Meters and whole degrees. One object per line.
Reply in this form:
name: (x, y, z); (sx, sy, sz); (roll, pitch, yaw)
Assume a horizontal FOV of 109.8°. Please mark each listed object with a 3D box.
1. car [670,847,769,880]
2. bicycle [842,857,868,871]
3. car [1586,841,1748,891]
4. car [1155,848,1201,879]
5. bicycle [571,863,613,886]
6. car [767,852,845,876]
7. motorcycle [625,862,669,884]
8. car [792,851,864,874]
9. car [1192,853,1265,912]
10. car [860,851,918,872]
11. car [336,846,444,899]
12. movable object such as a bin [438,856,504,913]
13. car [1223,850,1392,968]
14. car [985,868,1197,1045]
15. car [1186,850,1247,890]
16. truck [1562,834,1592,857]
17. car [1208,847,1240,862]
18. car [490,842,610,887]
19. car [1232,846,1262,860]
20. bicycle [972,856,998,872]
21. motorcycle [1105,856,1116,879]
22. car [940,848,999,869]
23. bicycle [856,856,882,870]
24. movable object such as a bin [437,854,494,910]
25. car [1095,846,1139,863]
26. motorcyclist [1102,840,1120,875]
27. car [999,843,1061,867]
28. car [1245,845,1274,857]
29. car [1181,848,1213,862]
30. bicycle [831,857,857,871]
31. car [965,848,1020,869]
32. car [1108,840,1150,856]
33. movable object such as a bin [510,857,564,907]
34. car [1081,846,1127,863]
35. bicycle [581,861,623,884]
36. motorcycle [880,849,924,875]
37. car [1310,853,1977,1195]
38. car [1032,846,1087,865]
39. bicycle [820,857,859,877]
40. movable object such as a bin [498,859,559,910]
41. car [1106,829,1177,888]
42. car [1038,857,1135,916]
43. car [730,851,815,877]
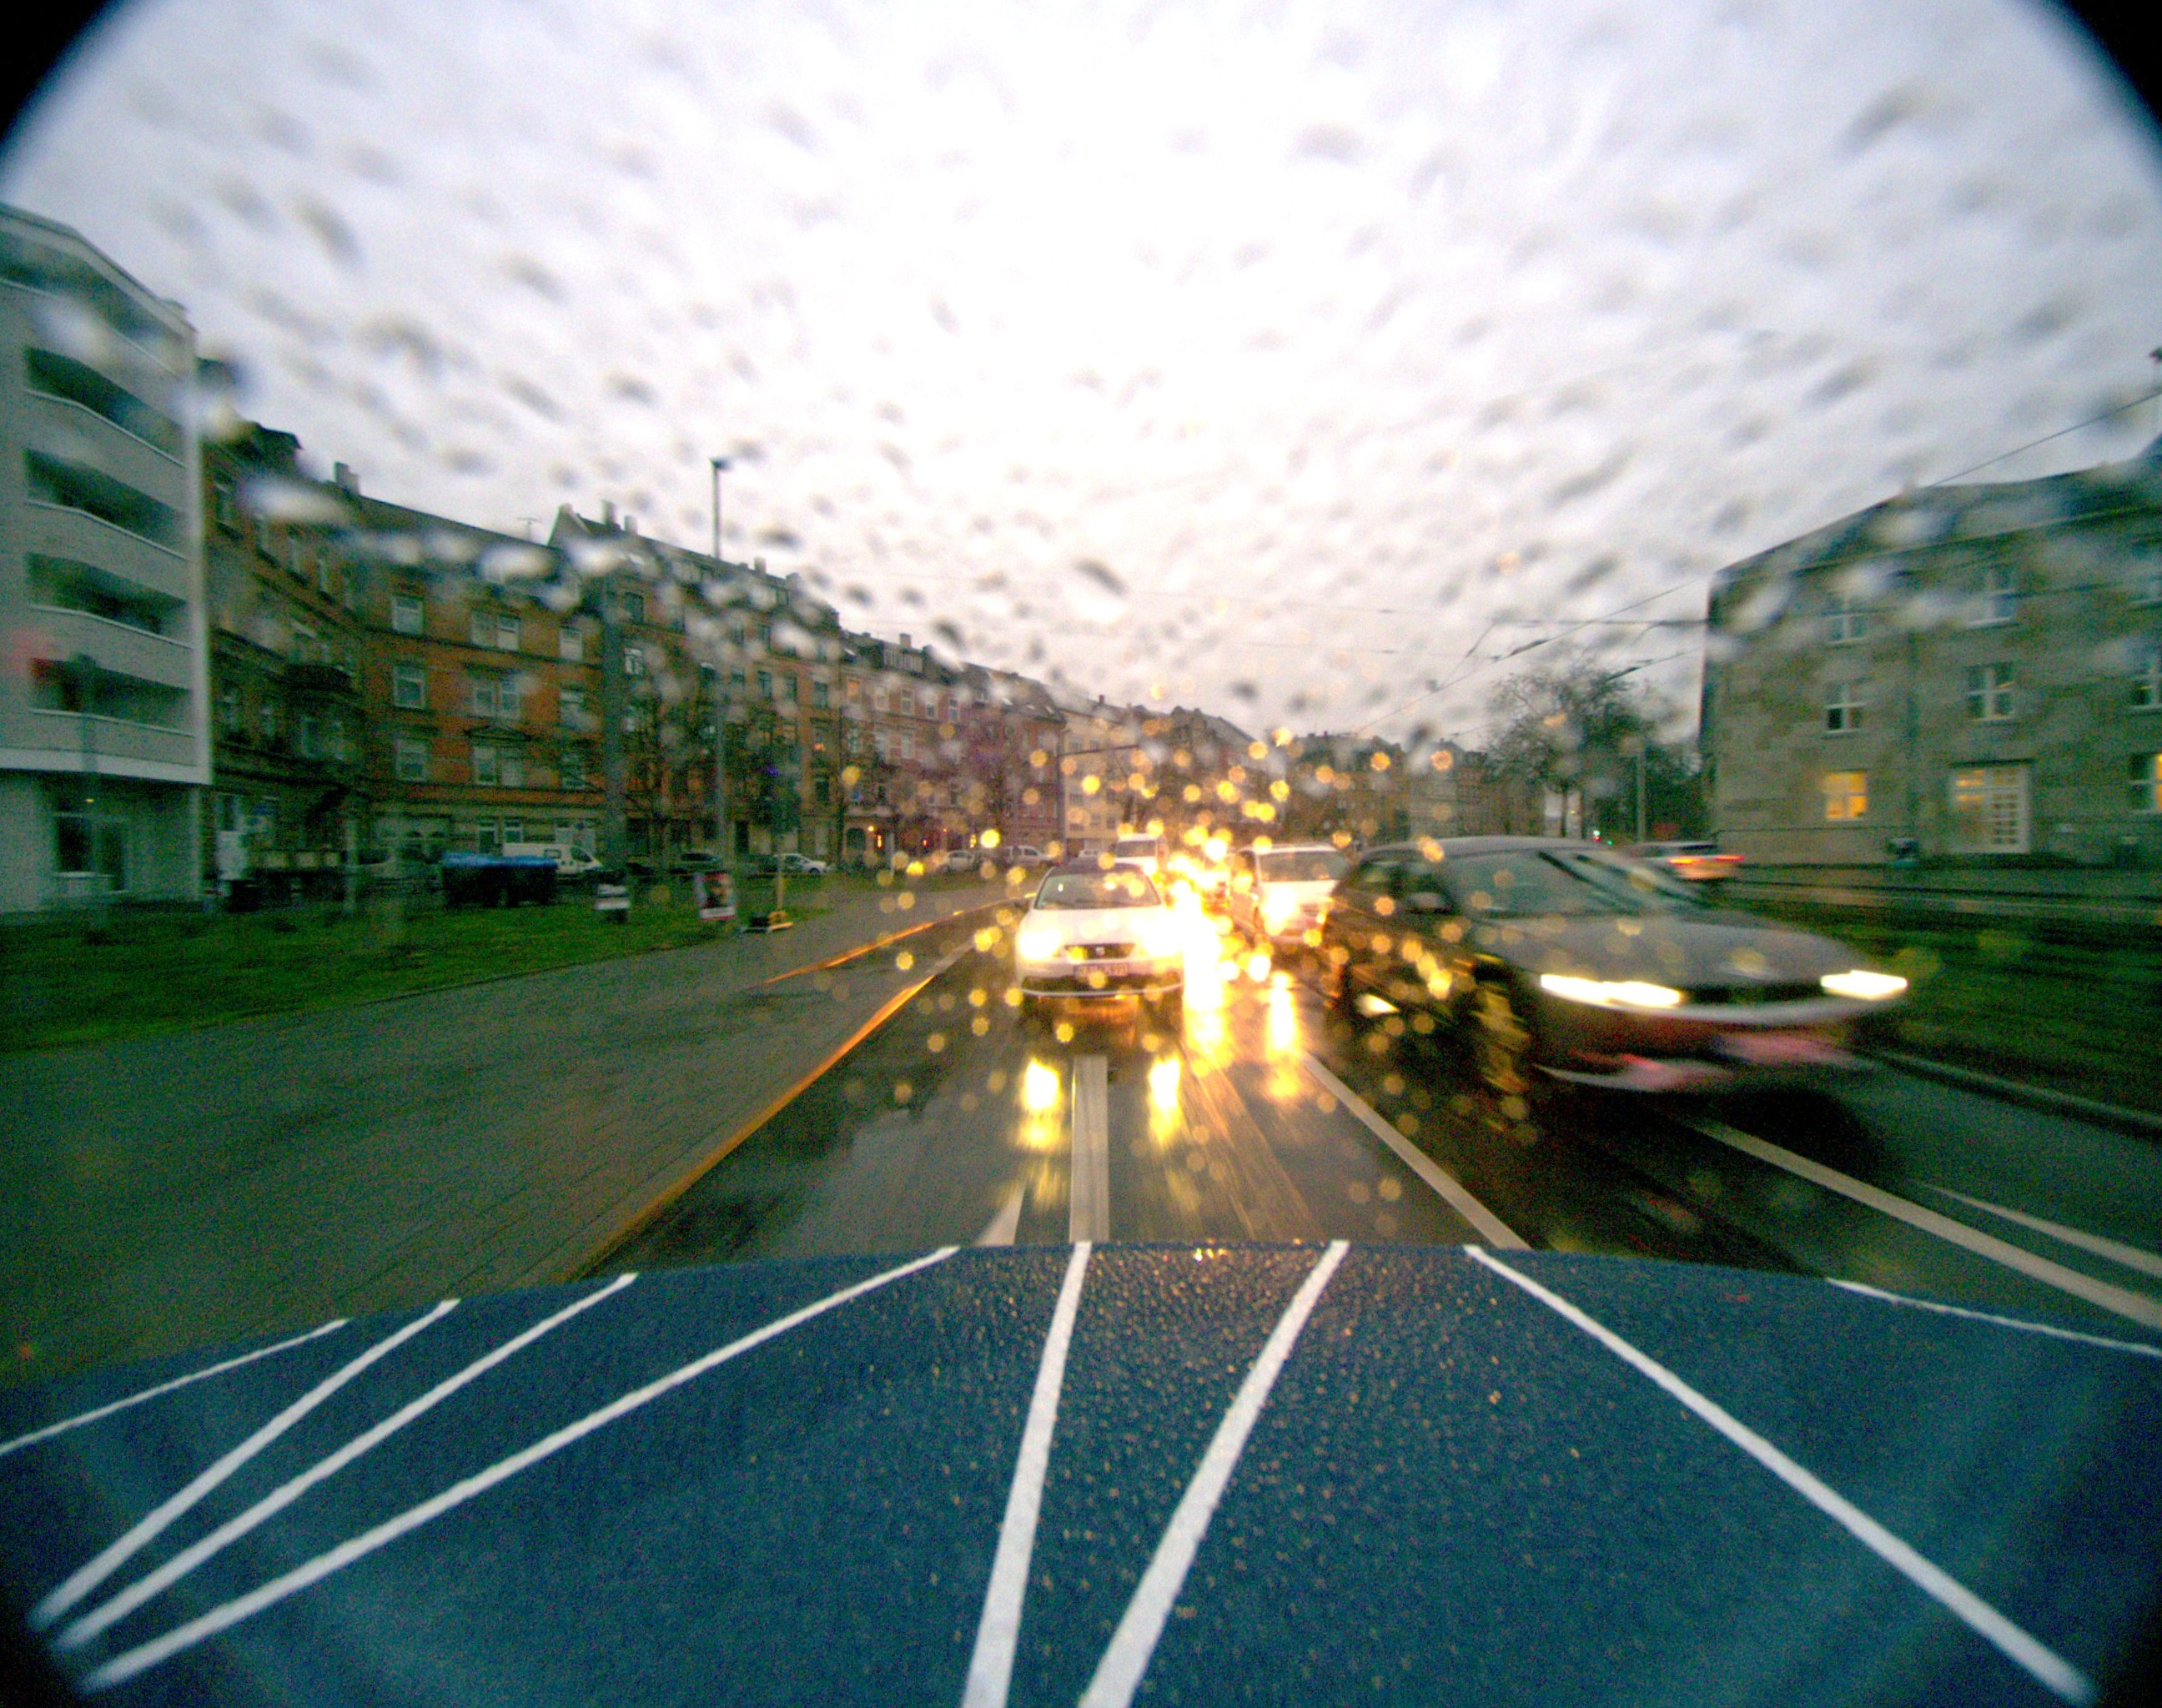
car: (-18.022, 0.472, 37.976); (4.151, 1.560, 1.743); (-1, 1, 7)
bicycle: (-13.885, 0.614, 46.573); (1.790, 0.773, 0.447); (2, 2, 32)
car: (17.918, 0.318, 23.547); (1.644, 1.378, 4.476); (-1, 1, 2)
car: (5.695, 0.509, 44.294); (1.874, 1.679, 4.176); (-1, 1, 18)
bicycle: (-21.255, 0.876, 33.028); (1.792, 0.926, 0.446); (1, 2, 14)
car: (-15.273, 0.545, 42.242); (3.683, 1.298, 1.669); (-1, 1, 7)
motorcycle: (-19.831, 0.872, 34.705); (1.793, 0.926, 0.513); (1, 2, 8)
car: (-14.867, 0.476, 44.681); (3.683, 1.298, 1.522); (-1, 1, 7)
car: (4.010, 0.737, 21.093); (1.688, 1.422, 3.348); (-1, 1, 7)
car: (-12.523, 0.498, 49.597); (3.296, 1.298, 1.522); (-1, 1, 8)
car: (-27.841, 0.681, 30.816); (1.945, 1.931, 4.588); (-1, 1, -25)
movable object such as a bin: (-16.997, 0.830, 21.181); (1.050, 1.502, 1.255); (0, 1, 43)
car: (3.479, 0.738, 12.454); (1.675, 1.590, 4.223); (-1, 0, 3)
car: (0.262, 0.943, 8.711); (1.787, 1.370, 4.224); (-2, 0, 5)
car: (5.538, 0.592, 30.695); (1.874, 1.466, 4.176); (-1, 0, 18)
truck: (45.407, -0.742, 69.536); (1.833, 2.032, 4.008); (0, 1, 41)
car: (15.371, 0.080, 81.627); (3.180, 1.615, 1.430); (-1, 1, 16)
car: (-27.574, 0.488, 39.616); (1.994, 2.176, 4.671); (0, 1, 36)
car: (18.708, -0.107, 85.773); (3.180, 1.615, 1.447); (-1, 1, 16)
bicycle: (-5.884, 0.618, 46.585); (1.790, 0.926, 0.447); (2, 2, 36)
motorcycle: (1.631, 0.739, 41.418); (0.483, 1.176, 2.410); (-1, 1, 4)
car: (-7.666, 0.310, 52.337); (3.683, 1.391, 1.522); (-1, 1, 8)
bicycle: (-13.303, 0.584, 47.635); (1.790, 0.813, 0.395); (2, 2, 29)
movable object such as a bin: (-17.987, 0.801, 22.212); (1.050, 1.566, 1.142); (0, 1, 43)
car: (3.123, 0.028, 66.018); (3.608, 1.362, 1.619); (-1, 1, 12)
motorcyclist: (1.629, 0.189, 41.250); (0.885, 1.871, 0.922); (-1, 1, 5)
car: (-3.821, 0.065, 56.953); (4.339, 1.758, 1.782); (-1, 1, 8)
car: (20.767, -0.372, 88.360); (3.180, 1.405, 1.383); (-1, 1, 18)
car: (12.107, 0.086, 79.426); (3.180, 1.420, 1.430); (-1, 1, 16)
bicycle: (-14.413, 0.615, 46.119); (1.790, 0.790, 0.447); (2, 2, 32)
car: (-6.359, 0.318, 54.755); (3.683, 1.428, 1.522); (-1, 1, 8)
car: (4.346, -0.548, 68.426); (3.610, 1.362, 1.618); (-1, 1, 6)
movable object such as a bin: (-16.751, 0.839, 23.397); (1.050, 1.477, 1.142); (0, 1, 43)
car: (1.984, 0.040, 63.804); (3.608, 1.362, 1.619); (-1, 1, 12)
bicycle: (-21.137, 0.813, 33.554); (1.792, 0.926, 0.446); (1, 2, 14)
motorcycle: (-10.225, 0.434, 43.409); (2.352, 1.338, 0.886); (3, 3, 22)
car: (3.302, 0.801, 5.753); (1.825, 1.561, 4.361); (-1, 0, 0)
car: (-1.654, 0.092, 59.084); (3.957, 1.436, 1.703); (-1, 1, 13)
bicycle: (-12.862, 0.679, 40.453); (1.911, 1.013, 0.535); (0, 2, -32)
movable object such as a bin: (-16.230, 0.858, 22.328); (1.050, 1.424, 1.227); (0, 1, 43)
car: (2.908, 0.167, 35.072); (2.239, 2.448, 5.675); (-1, 1, 15)
car: (0.255, 0.816, 20.661); (1.721, 1.380, 3.825); (-1, 1, 14)
car: (-16.173, 0.515, 39.929); (3.683, 1.298, 1.743); (-1, 1, 7)
